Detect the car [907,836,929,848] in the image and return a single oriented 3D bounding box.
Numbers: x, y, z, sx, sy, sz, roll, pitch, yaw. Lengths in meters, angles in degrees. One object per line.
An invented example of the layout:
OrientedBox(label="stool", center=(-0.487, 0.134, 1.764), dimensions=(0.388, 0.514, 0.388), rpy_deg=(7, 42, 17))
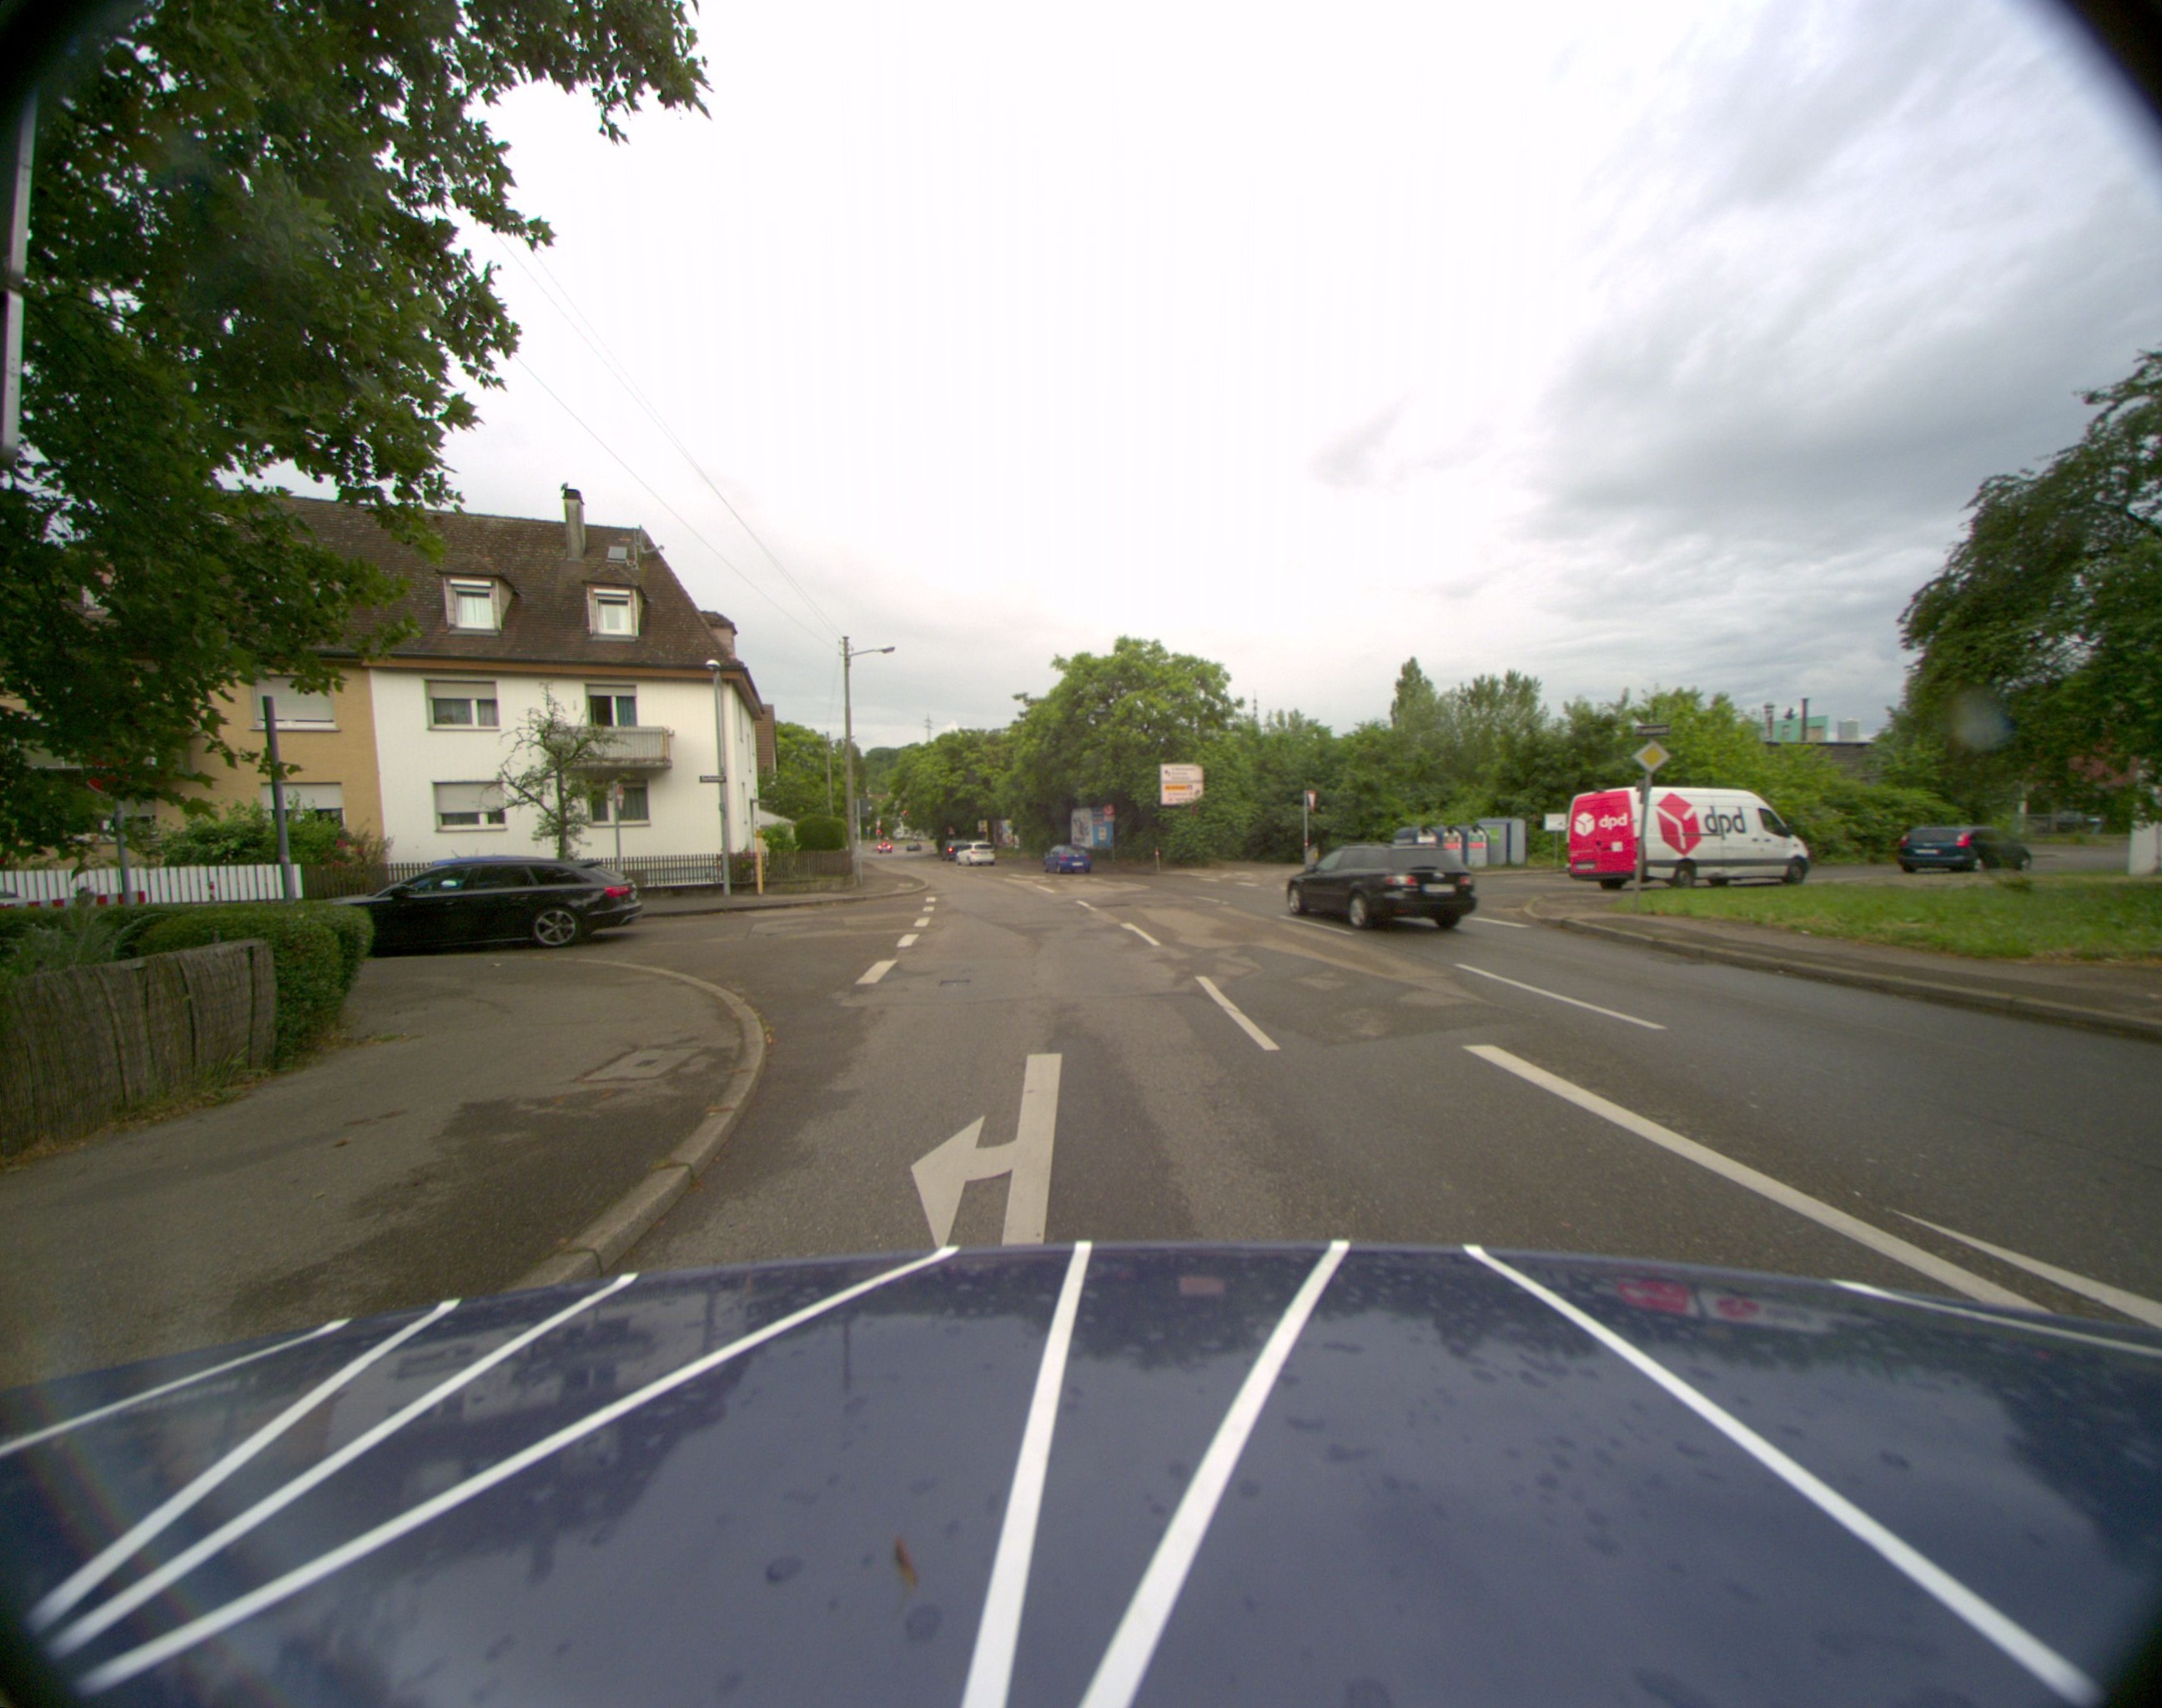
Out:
OrientedBox(label="car", center=(-27.884, -2.104, 130.053), dimensions=(1.997, 1.436, 4.772), rpy_deg=(-4, 6, 7))

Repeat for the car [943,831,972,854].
OrientedBox(label="car", center=(-10.989, -1.003, 67.324), dimensions=(1.965, 1.920, 4.676), rpy_deg=(-2, 1, -16))

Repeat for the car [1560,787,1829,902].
OrientedBox(label="car", center=(16.161, -0.353, 20.006), dimensions=(6.829, 2.641, 2.258), rpy_deg=(-2, 2, -20))

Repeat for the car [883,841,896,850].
OrientedBox(label="car", center=(-30.013, -1.358, 119.251), dimensions=(1.902, 1.453, 3.994), rpy_deg=(-1, 1, -15))

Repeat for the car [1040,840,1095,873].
OrientedBox(label="car", center=(-0.702, 0.089, 37.434), dimensions=(1.604, 1.418, 3.689), rpy_deg=(-3, 3, -19))

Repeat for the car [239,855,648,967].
OrientedBox(label="car", center=(-10.060, 0.815, 12.593), dimensions=(4.823, 1.472, 1.882), rpy_deg=(-1, 1, -24))

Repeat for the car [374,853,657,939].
OrientedBox(label="car", center=(-11.127, 0.763, 15.332), dimensions=(4.130, 1.472, 1.883), rpy_deg=(-1, 1, -17))

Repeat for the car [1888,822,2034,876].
OrientedBox(label="car", center=(30.139, -0.213, 26.048), dimensions=(4.257, 1.620, 1.996), rpy_deg=(-3, 2, -22))

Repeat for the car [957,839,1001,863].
OrientedBox(label="car", center=(-7.185, -0.200, 53.247), dimensions=(1.839, 1.569, 4.324), rpy_deg=(-2, 1, -24))

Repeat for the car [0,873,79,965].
OrientedBox(label="car", center=(-19.477, 1.125, 12.140), dimensions=(3.788, 1.445, 1.769), rpy_deg=(-2, 1, -20))

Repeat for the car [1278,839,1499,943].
OrientedBox(label="car", center=(5.368, 0.535, 13.987), dimensions=(1.847, 1.560, 4.409), rpy_deg=(-1, 1, -7))
